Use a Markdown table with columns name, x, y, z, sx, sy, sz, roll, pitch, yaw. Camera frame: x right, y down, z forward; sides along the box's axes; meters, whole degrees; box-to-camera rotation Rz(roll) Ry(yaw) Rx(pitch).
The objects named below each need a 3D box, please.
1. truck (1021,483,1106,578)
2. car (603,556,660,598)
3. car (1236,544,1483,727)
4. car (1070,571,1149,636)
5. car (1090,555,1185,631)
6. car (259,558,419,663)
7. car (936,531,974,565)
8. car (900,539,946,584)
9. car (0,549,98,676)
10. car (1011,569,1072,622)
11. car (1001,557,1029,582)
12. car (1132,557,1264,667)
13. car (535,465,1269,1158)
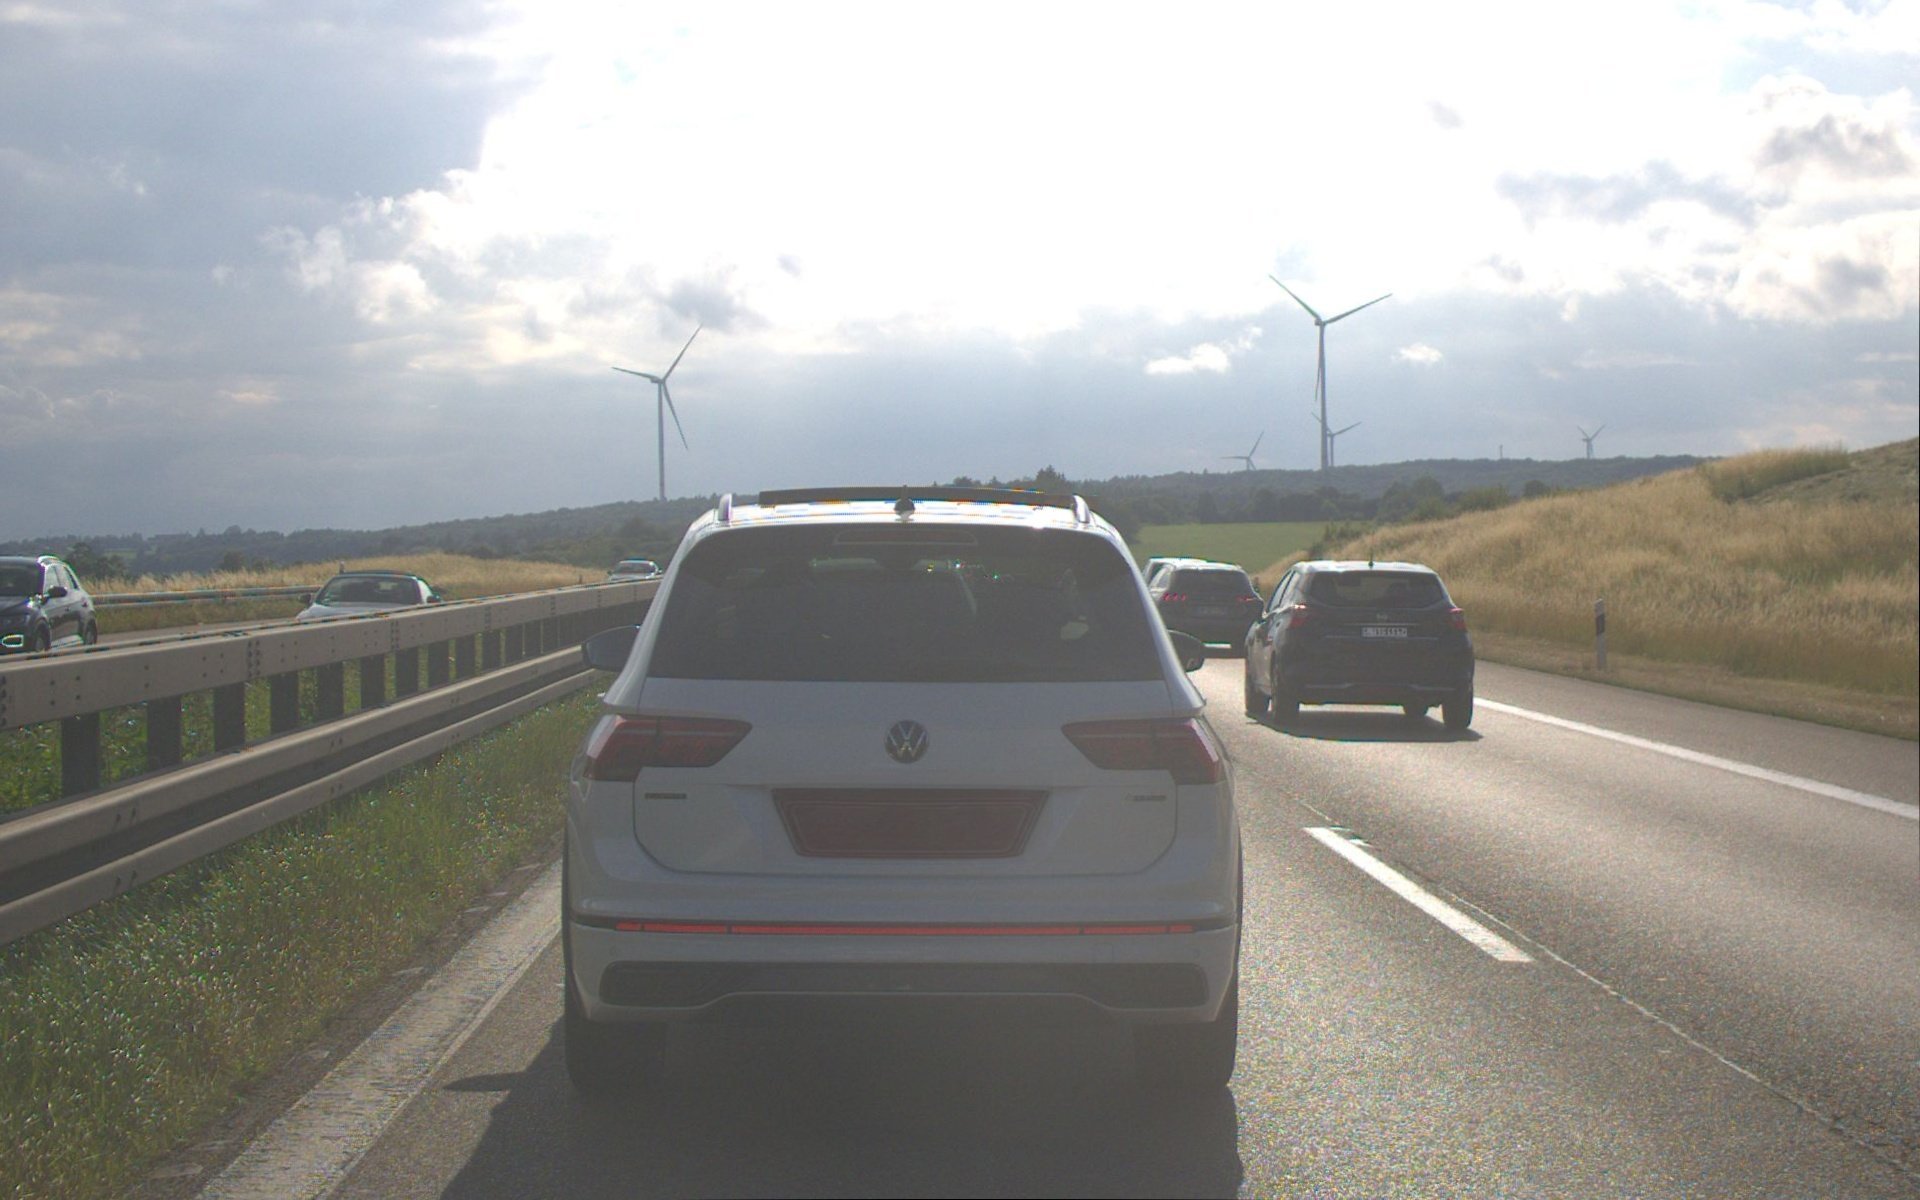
| name | x | y | z | sx | sy | sz | roll | pitch | yaw |
| --- | --- | --- | --- | --- | --- | --- | --- | --- | --- |
| truck | 4.062 | -2.751 | 136.710 | 3.184 | 3.581 | 11.130 | 1 | 1 | 1 |
| car | -11.878 | -0.840 | 124.617 | 1.749 | 1.474 | 4.480 | 1 | 0 | -2 |
| car | 3.558 | 0.285 | 31.218 | 1.704 | 1.540 | 4.000 | 1 | 0 | -1 |
| car | 3.648 | 0.058 | 84.450 | 1.704 | 1.540 | 4.000 | 1 | 0 | -1 |
| car | 3.713 | -0.160 | 72.412 | 1.704 | 1.540 | 4.000 | 1 | 0 | -1 |
| car | -8.637 | 0.120 | 48.064 | 1.615 | 1.387 | 4.000 | 1 | 0 | -2 |
| car | -0.224 | -2.443 | 160.793 | 1.704 | 1.540 | 4.000 | 1 | 0 | -1 |
| car | -1.418 | -1.458 | 130.954 | 1.704 | 1.644 | 4.000 | 1 | 0 | -1 |
| car | -12.055 | 0.120 | 43.051 | 1.615 | 1.516 | 4.000 | 1 | 0 | -2 |
| car | 2.470 | -0.148 | 104.747 | 1.704 | 1.540 | 4.000 | 1 | 0 | -1 |
| car | 3.584 | -1.992 | 224.437 | 1.704 | 1.540 | 4.000 | 1 | 0 | -1 |
| car | 3.690 | 0.161 | 53.902 | 1.704 | 1.644 | 4.000 | 1 | 0 | -1 |
| car | -0.170 | 0.502 | 10.388 | 1.770 | 1.670 | 4.000 | 1 | 0 | -1 |
